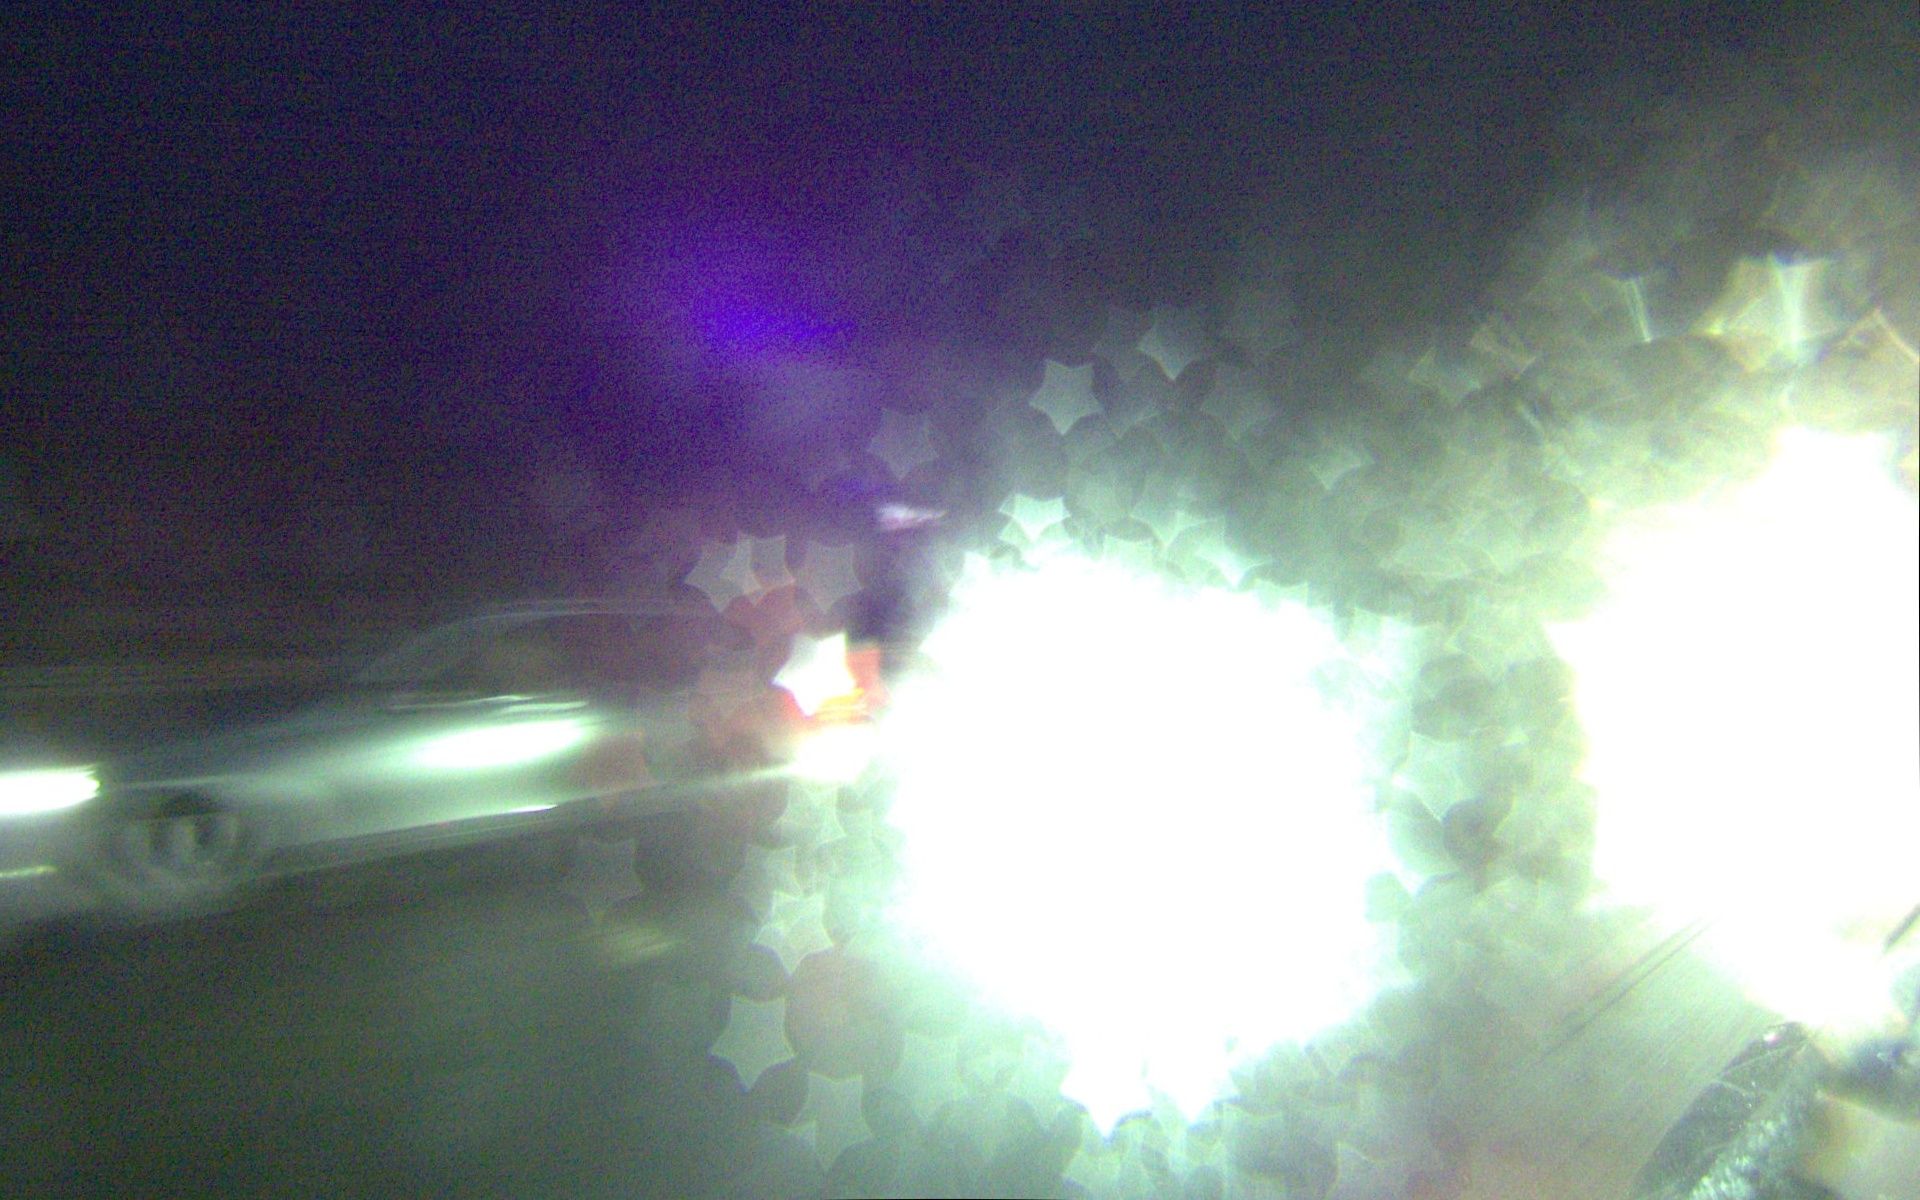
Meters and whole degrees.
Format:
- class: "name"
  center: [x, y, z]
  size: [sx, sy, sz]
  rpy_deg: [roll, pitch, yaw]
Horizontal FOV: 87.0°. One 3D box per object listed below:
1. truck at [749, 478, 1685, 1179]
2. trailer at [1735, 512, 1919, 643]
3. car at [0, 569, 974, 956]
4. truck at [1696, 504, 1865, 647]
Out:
- class: "truck"
  center: [1.588, 0.546, 4.747]
  size: [4.769, 1.718, 1.847]
  rpy_deg: [0, 0, -40]
- class: "trailer"
  center: [32.312, -0.762, 37.365]
  size: [13.396, 4.149, 2.871]
  rpy_deg: [0, 0, -39]
- class: "car"
  center: [-2.457, 0.649, 6.163]
  size: [5.271, 1.498, 1.746]
  rpy_deg: [1, -1, -41]
- class: "truck"
  center: [26.545, -0.724, 32.637]
  size: [6.888, 4.155, 2.865]
  rpy_deg: [0, -1, -39]
